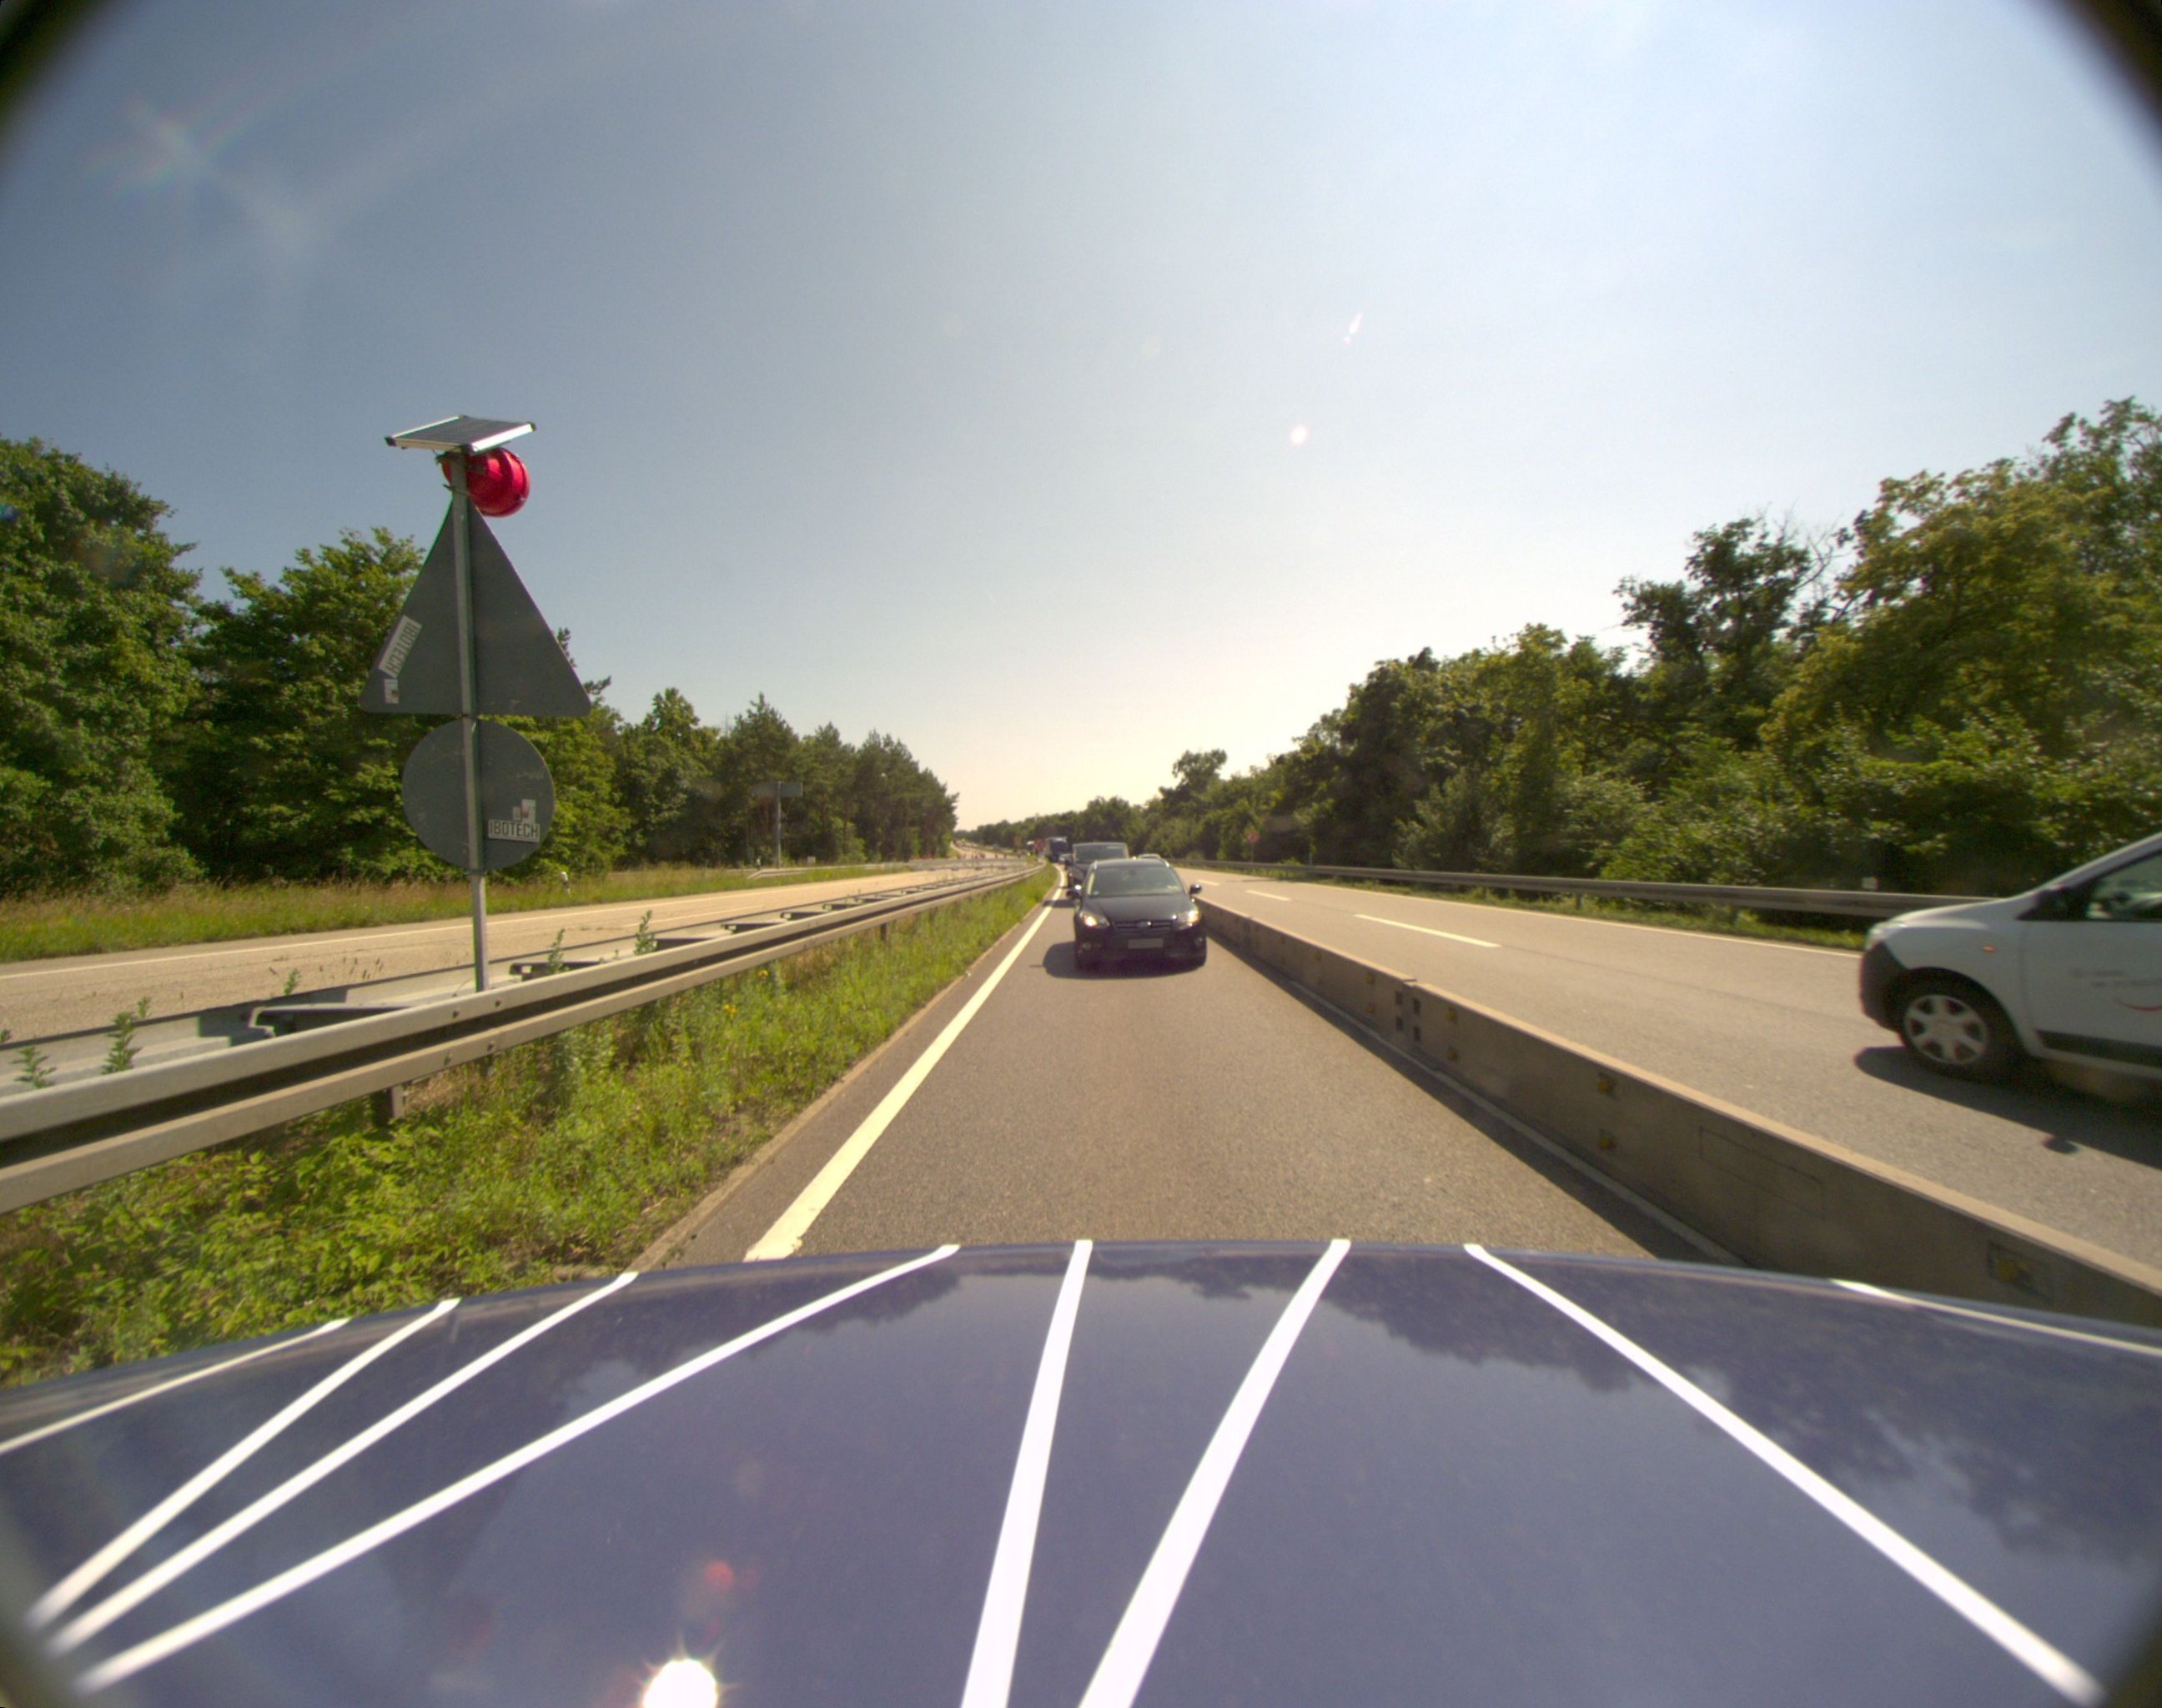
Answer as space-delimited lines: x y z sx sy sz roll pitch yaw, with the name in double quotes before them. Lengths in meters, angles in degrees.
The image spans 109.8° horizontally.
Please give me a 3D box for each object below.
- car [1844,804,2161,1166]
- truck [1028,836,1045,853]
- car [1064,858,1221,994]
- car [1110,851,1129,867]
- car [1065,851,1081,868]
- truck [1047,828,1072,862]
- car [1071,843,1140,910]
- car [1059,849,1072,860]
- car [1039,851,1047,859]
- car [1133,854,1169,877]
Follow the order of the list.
"car" 6.116 0.618 3.065 1.760 1.754 4.284 -1 0 0
"truck" -11.279 -2.393 193.237 3.831 4.265 11.240 -1 1 -5
"car" 0.779 0.877 11.625 1.846 1.537 4.935 -2 0 1
"car" 3.939 0.505 78.135 1.826 1.473 4.256 -2 0 1
"car" -0.805 0.534 74.936 1.527 1.647 3.979 0 0 -2
"truck" -3.510 -1.511 124.967 3.829 5.266 11.244 -1 1 -1
"car" 0.736 0.651 24.717 1.959 1.901 4.935 -2 0 0
"car" -2.243 0.058 108.098 1.528 1.647 3.752 0 0 -5
"car" -8.023 0.158 159.075 1.527 1.647 3.979 1 0 -4
"car" 4.610 0.706 50.359 1.954 1.413 4.352 -1 0 0
